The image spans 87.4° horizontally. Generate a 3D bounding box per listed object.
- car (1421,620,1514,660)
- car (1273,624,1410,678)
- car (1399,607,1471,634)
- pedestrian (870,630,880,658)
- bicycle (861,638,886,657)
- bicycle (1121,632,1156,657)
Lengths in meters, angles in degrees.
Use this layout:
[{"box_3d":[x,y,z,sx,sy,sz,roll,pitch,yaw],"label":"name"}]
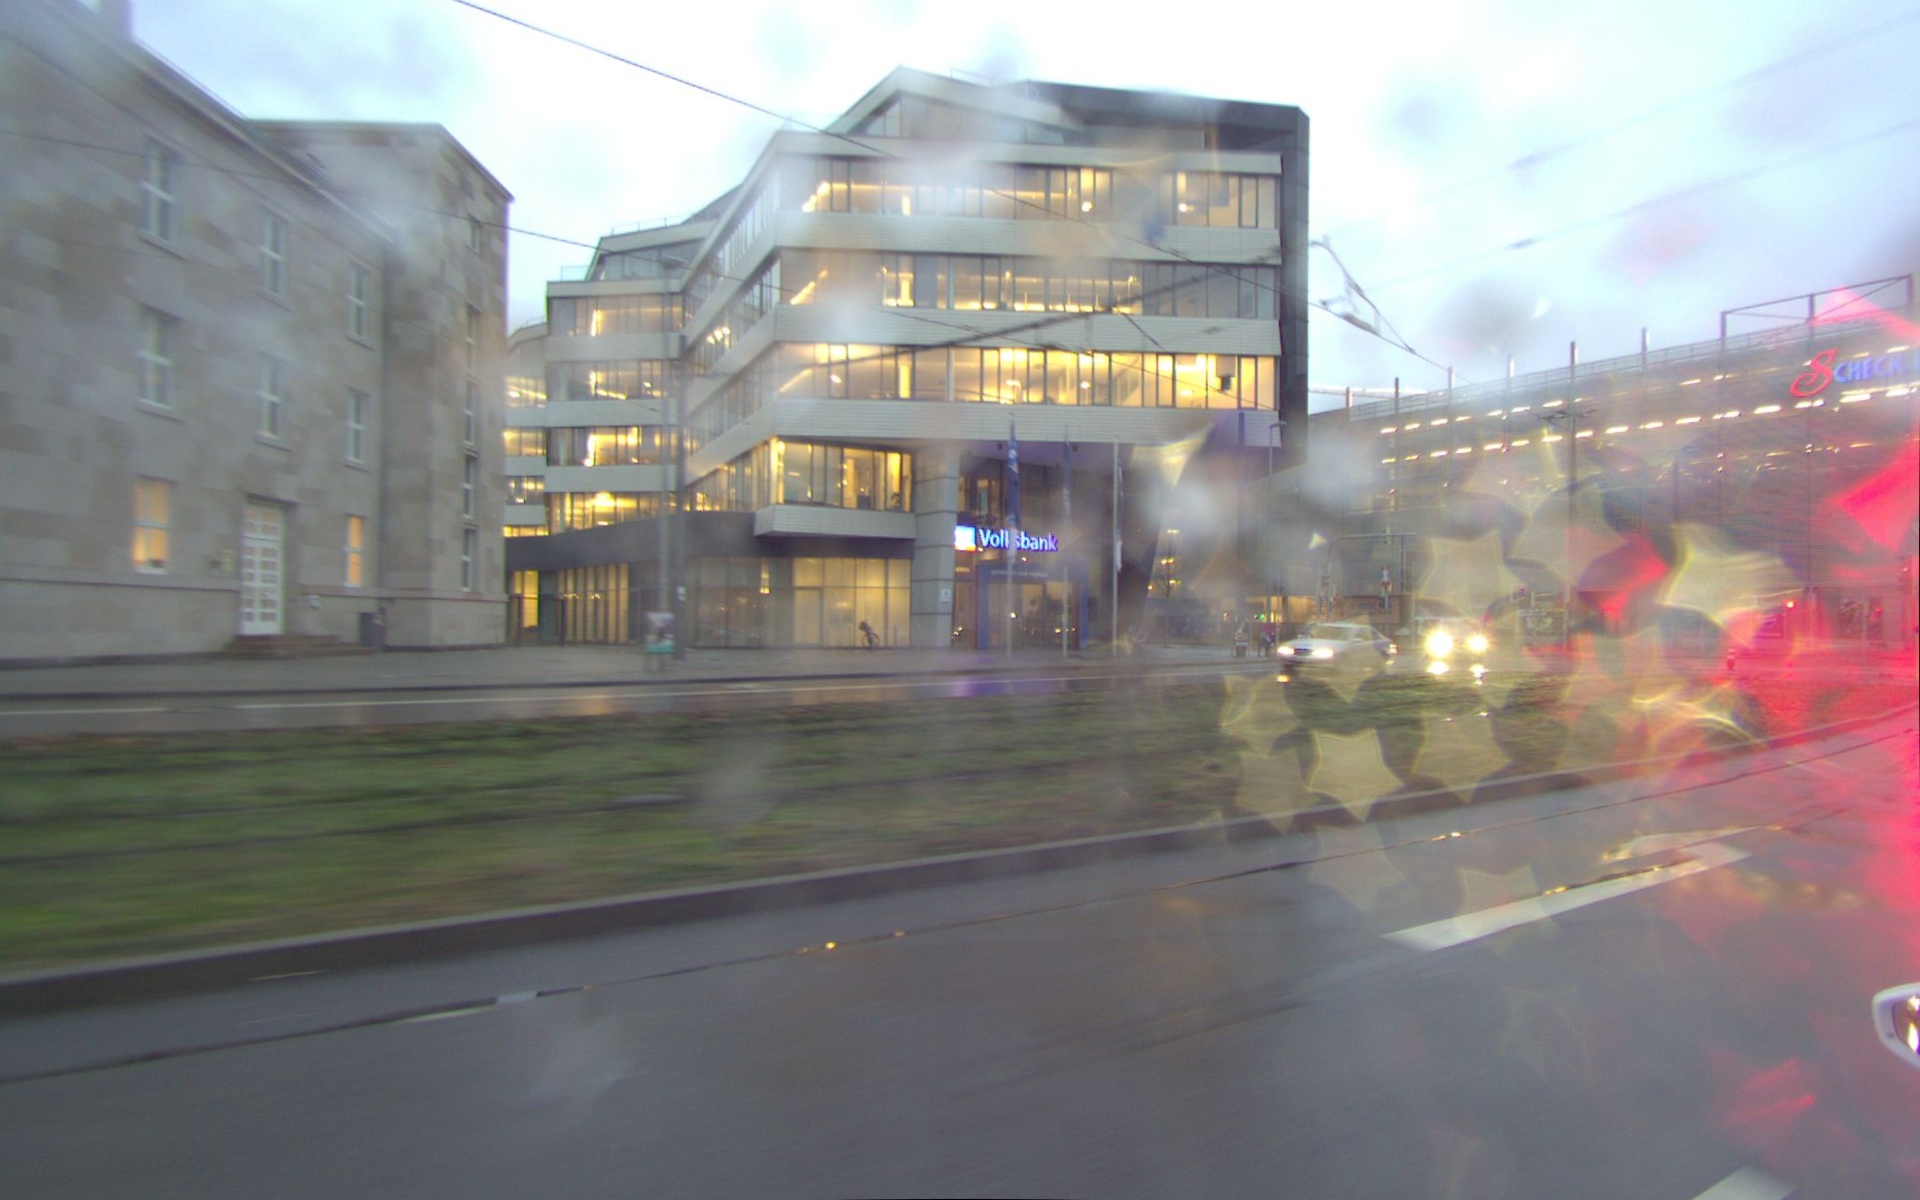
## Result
[{"box_3d":[20.018,1.538,39.519,4.487,1.419,1.642,1,1,-41],"label":"car"},{"box_3d":[11.652,1.483,30.544,4.616,1.454,1.806,1,1,-39],"label":"car"},{"box_3d":[39.023,1.697,82.661,1.876,1.988,5.034,1,1,-41],"label":"car"},{"box_3d":[-3.384,1.739,39.890,0.380,1.103,0.325,0,-1,-1],"label":"pedestrian"},{"box_3d":[-3.411,1.876,39.713,0.897,0.724,0.482,1,-1,-16],"label":"bicycle"},{"box_3d":[8.177,2.034,45.983,1.591,1.104,0.552,1,-2,-29],"label":"bicycle"}]
